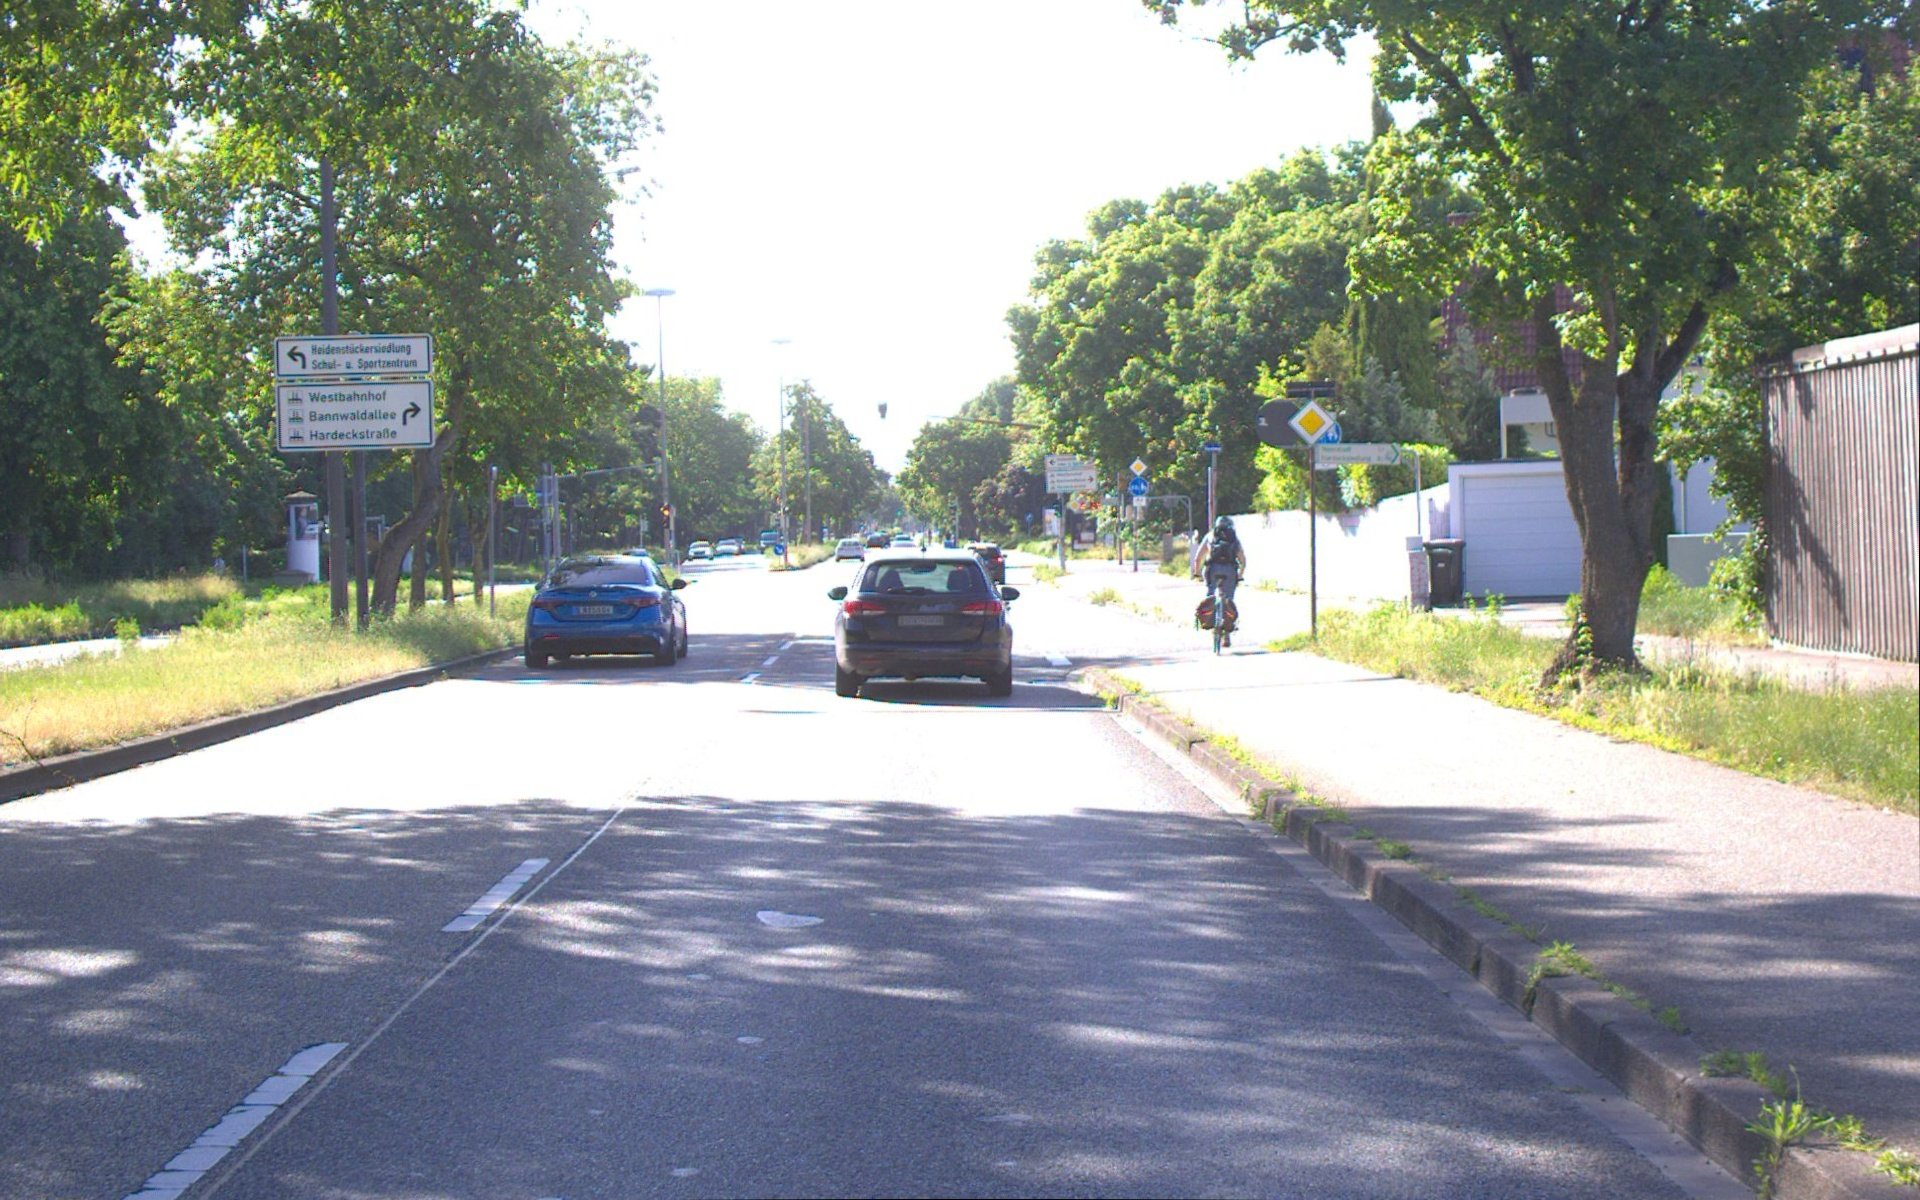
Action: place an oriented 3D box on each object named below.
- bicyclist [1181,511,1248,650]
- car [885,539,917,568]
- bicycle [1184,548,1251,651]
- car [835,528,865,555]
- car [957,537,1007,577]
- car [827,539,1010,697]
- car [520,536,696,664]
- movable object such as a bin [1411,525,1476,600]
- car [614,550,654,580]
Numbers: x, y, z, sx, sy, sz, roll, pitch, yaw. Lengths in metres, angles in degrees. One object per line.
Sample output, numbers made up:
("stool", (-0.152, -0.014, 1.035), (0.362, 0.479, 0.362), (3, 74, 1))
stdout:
("bicyclist", (3.105, -0.246, 41.858), (0.630, 1.627, 0.981), (-4, 1, 9))
("car", (-3.314, -2.579, 192.391), (1.732, 1.579, 3.840), (1, 0, -1))
("bicycle", (3.154, -0.020, 42.016), (0.574, 1.151, 2.140), (-4, 1, 9))
("car", (-7.043, -3.738, 220.039), (1.824, 1.609, 3.841), (2, 2, -2))
("car", (0.833, -1.607, 128.973), (1.732, 1.454, 3.840), (-1, 1, 2))
("car", (-0.427, 0.154, 35.101), (1.755, 1.504, 3.809), (-1, 1, -1))
("car", (-4.524, -0.020, 44.662), (1.888, 1.547, 4.000), (-1, 1, -1))
("movable object such as a bin", (8.197, -0.635, 58.339), (1.002, 1.201, 1.062), (-3, 0, 7))
("car", (-18.915, -2.007, 199.828), (1.912, 1.697, 4.408), (1, 0, 0))
